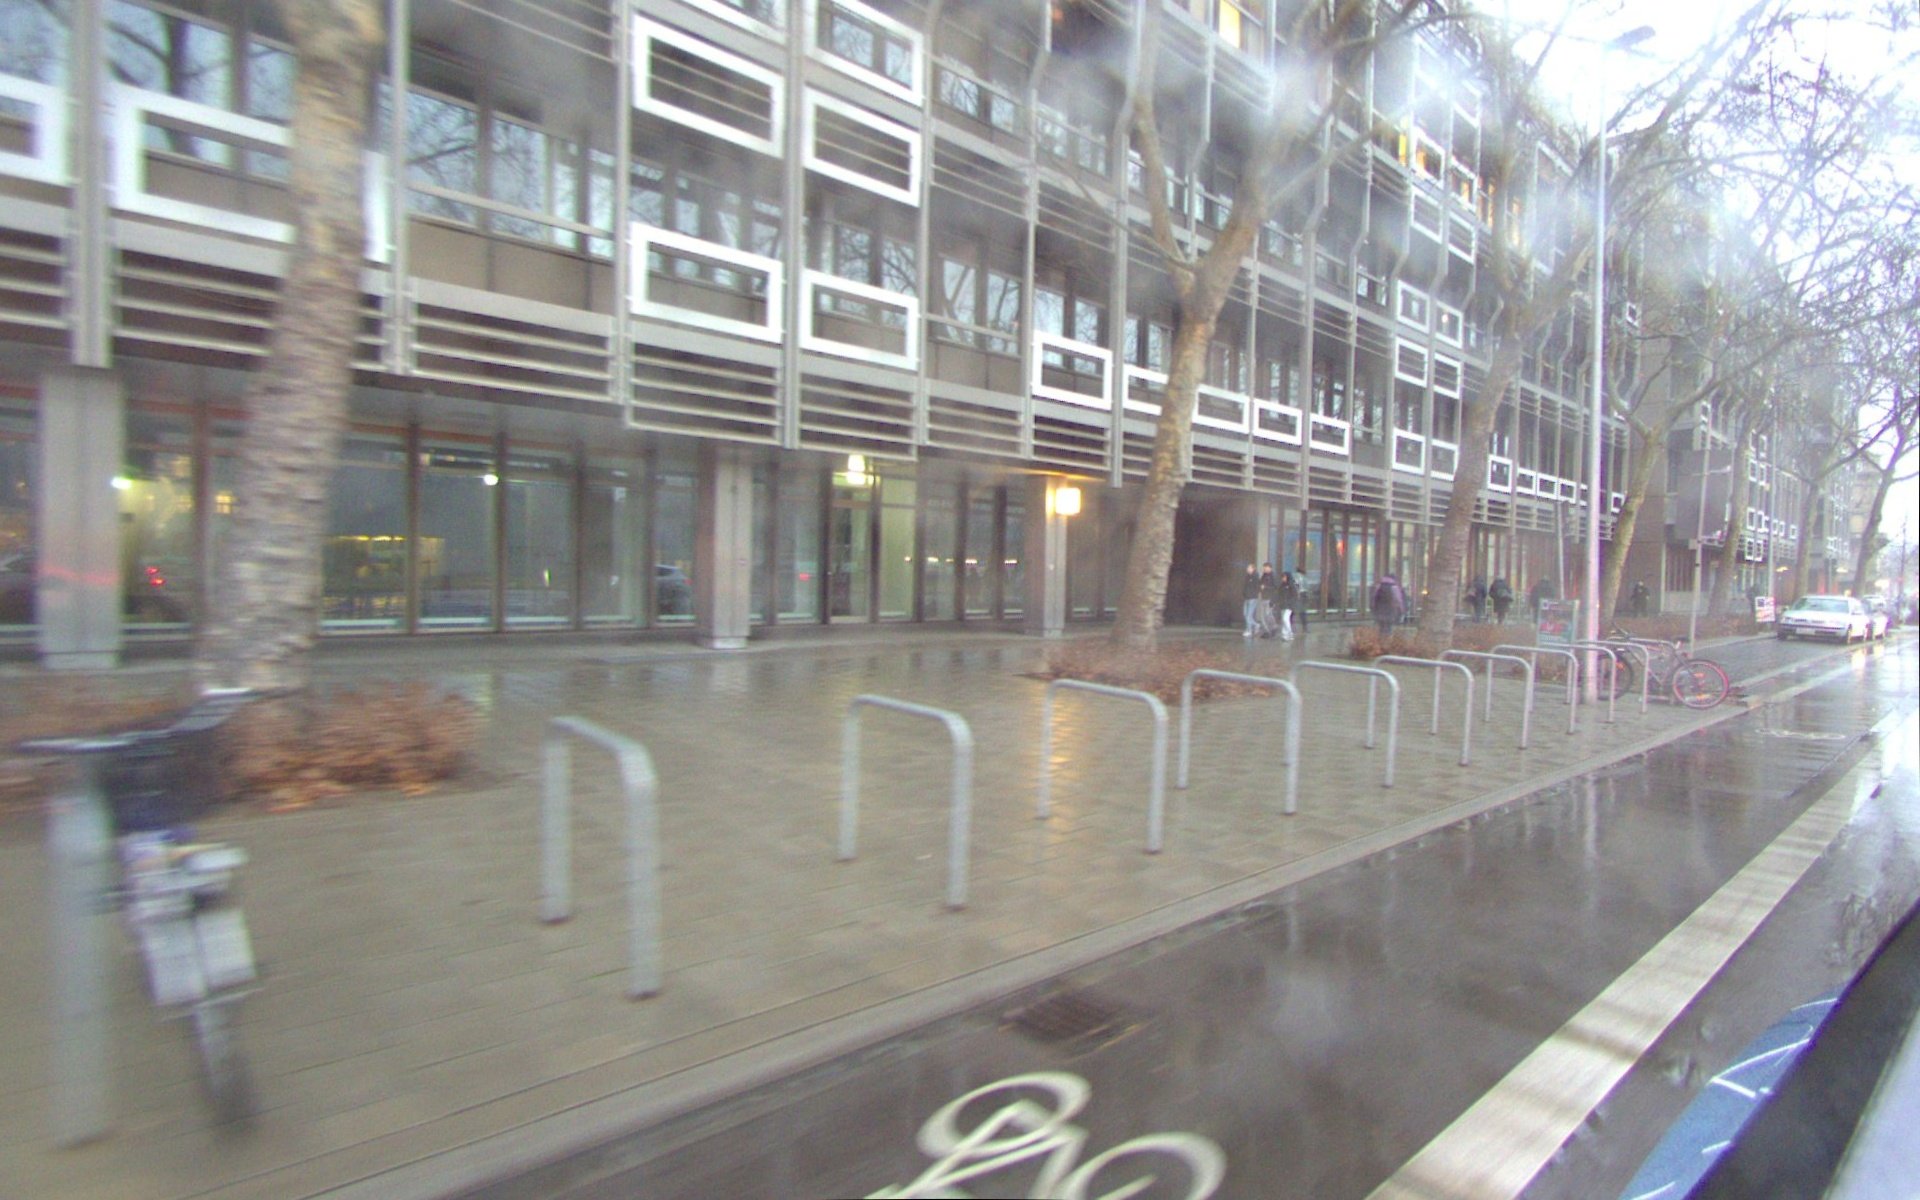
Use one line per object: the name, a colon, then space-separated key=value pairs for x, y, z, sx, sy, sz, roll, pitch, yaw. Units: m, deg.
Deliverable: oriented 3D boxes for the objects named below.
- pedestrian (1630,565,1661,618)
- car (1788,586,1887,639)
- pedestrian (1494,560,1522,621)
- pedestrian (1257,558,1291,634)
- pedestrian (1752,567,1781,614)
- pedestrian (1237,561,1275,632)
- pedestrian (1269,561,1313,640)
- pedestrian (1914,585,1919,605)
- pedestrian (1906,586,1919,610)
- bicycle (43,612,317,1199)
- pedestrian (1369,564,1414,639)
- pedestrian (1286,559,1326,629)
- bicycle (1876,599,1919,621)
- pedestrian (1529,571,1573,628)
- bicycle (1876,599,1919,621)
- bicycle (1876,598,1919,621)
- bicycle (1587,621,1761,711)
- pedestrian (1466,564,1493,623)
pedestrian: x=26.752 y=-0.338 z=39.480 sx=0.723 sy=2.038 sz=0.821 roll=0 pitch=1 yaw=-42
car: x=27.429 y=0.346 z=31.611 sx=3.859 sy=1.449 sz=1.609 roll=0 pitch=5 yaw=-39
pedestrian: x=15.920 y=-0.294 z=29.409 sx=0.655 sy=1.739 sz=0.834 roll=2 pitch=1 yaw=30
pedestrian: x=7.053 y=-0.094 z=22.724 sx=0.701 sy=1.688 sz=0.379 roll=0 pitch=2 yaw=-40
pedestrian: x=35.818 y=-0.427 z=44.933 sx=1.006 sy=2.038 sz=0.790 roll=0 pitch=1 yaw=-41
pedestrian: x=6.775 y=-0.093 z=23.154 sx=0.733 sy=1.583 sz=0.484 roll=0 pitch=1 yaw=-42
pedestrian: x=7.291 y=0.000 z=22.288 sx=0.858 sy=1.688 sz=0.501 roll=0 pitch=2 yaw=-40
pedestrian: x=96.543 y=-0.507 z=101.765 sx=0.758 sy=2.039 sz=0.837 roll=-1 pitch=0 yaw=-41
pedestrian: x=81.376 y=-0.157 z=86.406 sx=0.758 sy=2.039 sz=0.837 roll=-1 pitch=0 yaw=-41
bicycle: x=-2.314 y=0.685 z=2.915 sx=0.428 sy=1.162 sz=1.752 roll=0 pitch=4 yaw=-44
pedestrian: x=9.228 y=0.016 z=21.648 sx=0.604 sy=1.563 sz=0.649 roll=0 pitch=1 yaw=-39
pedestrian: x=8.536 y=-0.153 z=24.964 sx=0.766 sy=1.677 sz=0.617 roll=0 pitch=1 yaw=-40
bicycle: x=45.956 y=0.475 z=49.630 sx=1.518 sy=1.049 sz=0.462 roll=0 pitch=1 yaw=43
pedestrian: x=16.536 y=-0.018 z=28.307 sx=0.864 sy=1.543 sz=0.824 roll=2 pitch=2 yaw=44
bicycle: x=45.031 y=0.476 z=48.611 sx=1.518 sy=1.049 sz=0.462 roll=0 pitch=1 yaw=43
bicycle: x=44.090 y=0.445 z=47.595 sx=1.518 sy=1.049 sz=0.462 roll=0 pitch=1 yaw=43
bicycle: x=9.527 y=0.841 z=13.557 sx=0.607 sy=0.986 sz=1.789 roll=0 pitch=3 yaw=-44
pedestrian: x=15.211 y=-0.195 z=29.635 sx=0.636 sy=1.675 sz=0.834 roll=2 pitch=1 yaw=30
